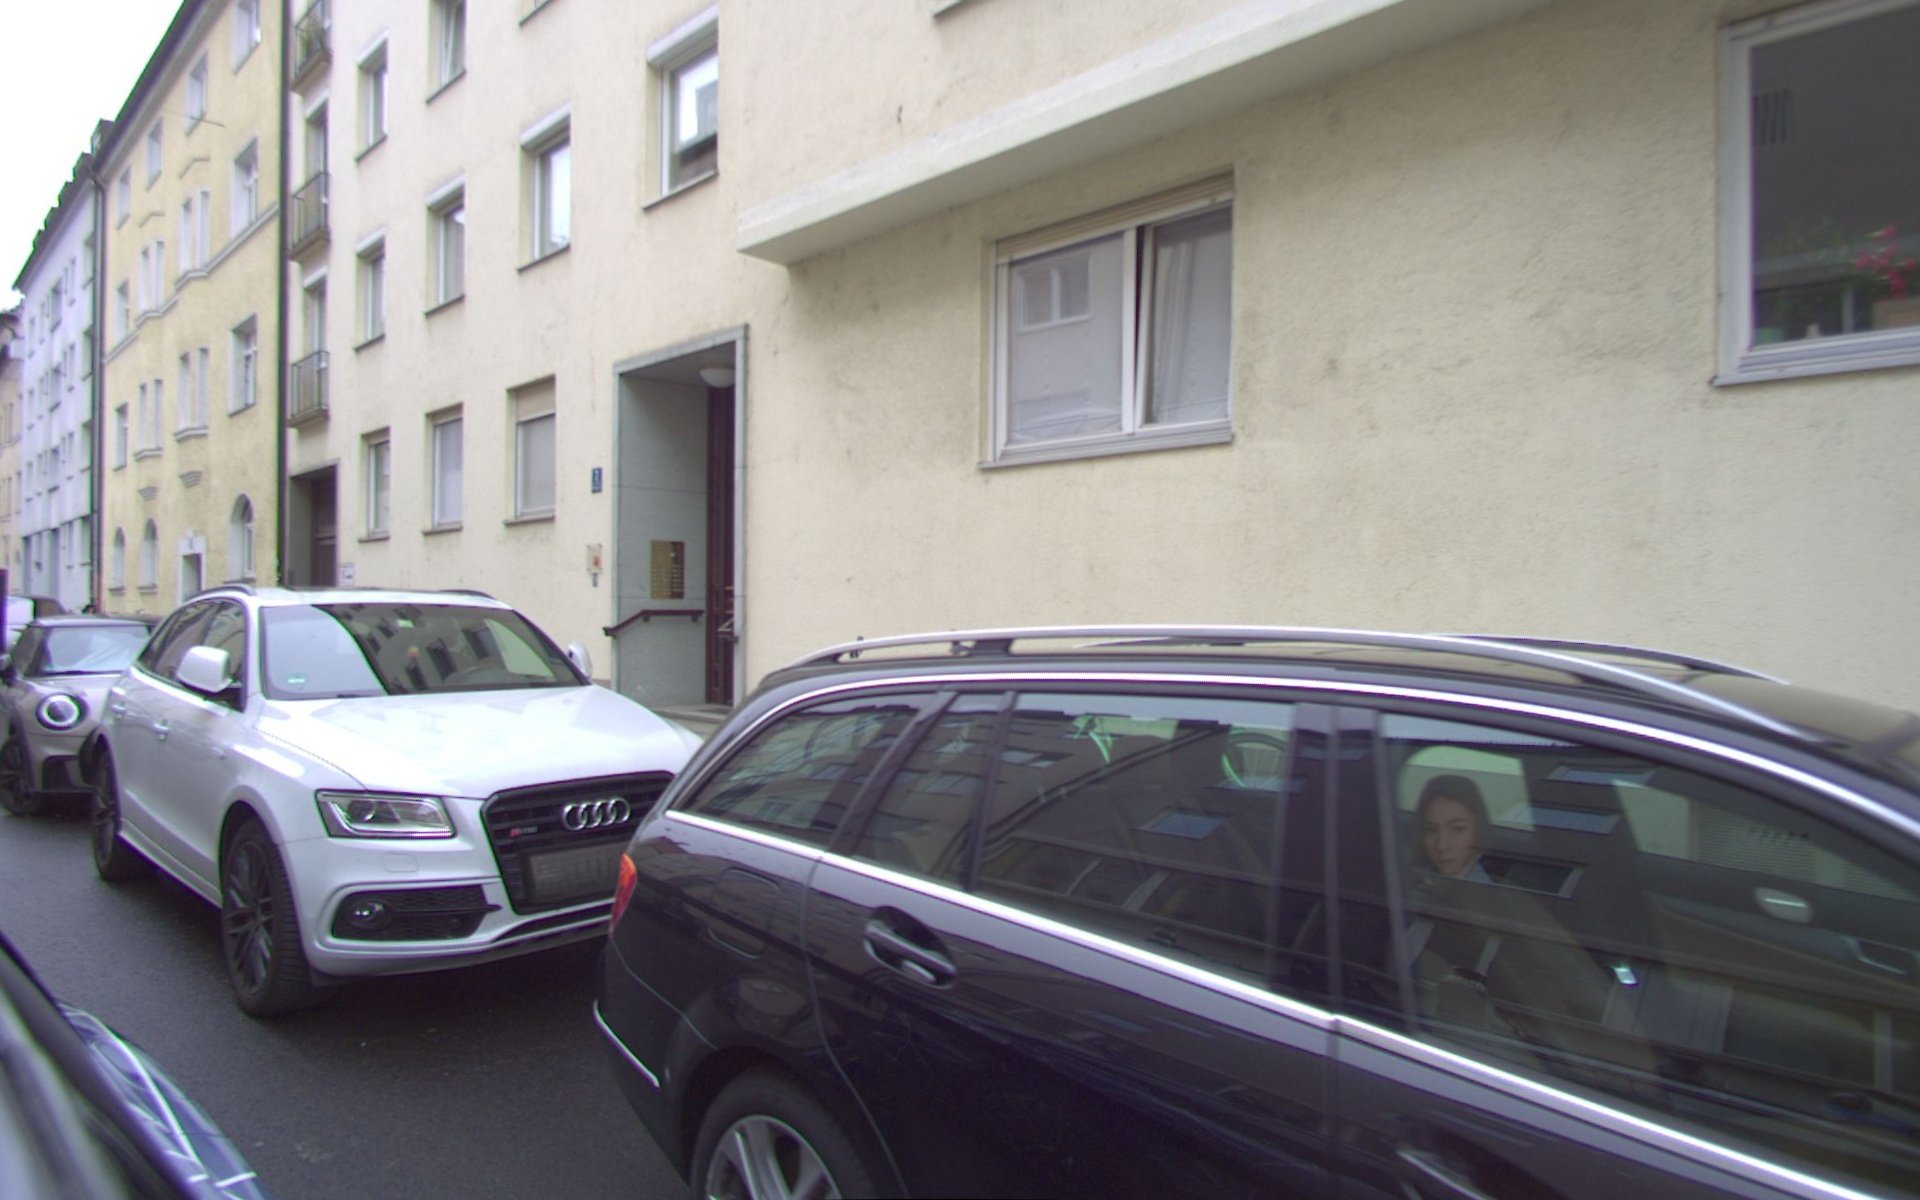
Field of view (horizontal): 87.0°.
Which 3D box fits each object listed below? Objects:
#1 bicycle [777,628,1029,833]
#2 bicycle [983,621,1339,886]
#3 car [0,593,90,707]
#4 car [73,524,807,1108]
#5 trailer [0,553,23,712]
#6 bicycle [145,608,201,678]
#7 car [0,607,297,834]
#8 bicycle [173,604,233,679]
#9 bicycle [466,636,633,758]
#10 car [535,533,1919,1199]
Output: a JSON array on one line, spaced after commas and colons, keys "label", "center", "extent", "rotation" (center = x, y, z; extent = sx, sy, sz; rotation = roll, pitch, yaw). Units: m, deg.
[{"label": "bicycle", "center": [-0.429, 0.796, 6.787], "extent": [1.789, 1.170, 0.575], "rotation": [0, -3, 42]}, {"label": "bicycle", "center": [1.020, 0.720, 5.440], "extent": [1.789, 1.170, 0.638], "rotation": [0, -2, 42]}, {"label": "car", "center": [-15.646, 0.733, 16.419], "extent": [4.415, 1.672, 1.858], "rotation": [0, -1, 43]}, {"label": "car", "center": [-2.866, 0.639, 5.042], "extent": [4.365, 1.688, 1.747], "rotation": [0, -1, 41]}, {"label": "trailer", "center": [-14.532, 0.422, 13.623], "extent": [3.289, 2.132, 1.352], "rotation": [0, 0, 17]}, {"label": "bicycle", "center": [-15.392, 0.812, 19.791], "extent": [1.551, 1.288, 0.529], "rotation": [0, 2, 41]}, {"label": "car", "center": [-7.047, 0.801, 8.422], "extent": [3.802, 1.446, 1.634], "rotation": [0, -1, 42]}, {"label": "bicycle", "center": [-13.949, 0.737, 18.635], "extent": [1.551, 1.288, 0.529], "rotation": [1, 3, 41]}, {"label": "bicycle", "center": [-4.001, 0.886, 9.804], "extent": [1.811, 1.035, 0.723], "rotation": [-1, 0, 39]}, {"label": "car", "center": [1.199, 0.714, 1.553], "extent": [4.424, 1.494, 1.746], "rotation": [0, -1, 43]}]
